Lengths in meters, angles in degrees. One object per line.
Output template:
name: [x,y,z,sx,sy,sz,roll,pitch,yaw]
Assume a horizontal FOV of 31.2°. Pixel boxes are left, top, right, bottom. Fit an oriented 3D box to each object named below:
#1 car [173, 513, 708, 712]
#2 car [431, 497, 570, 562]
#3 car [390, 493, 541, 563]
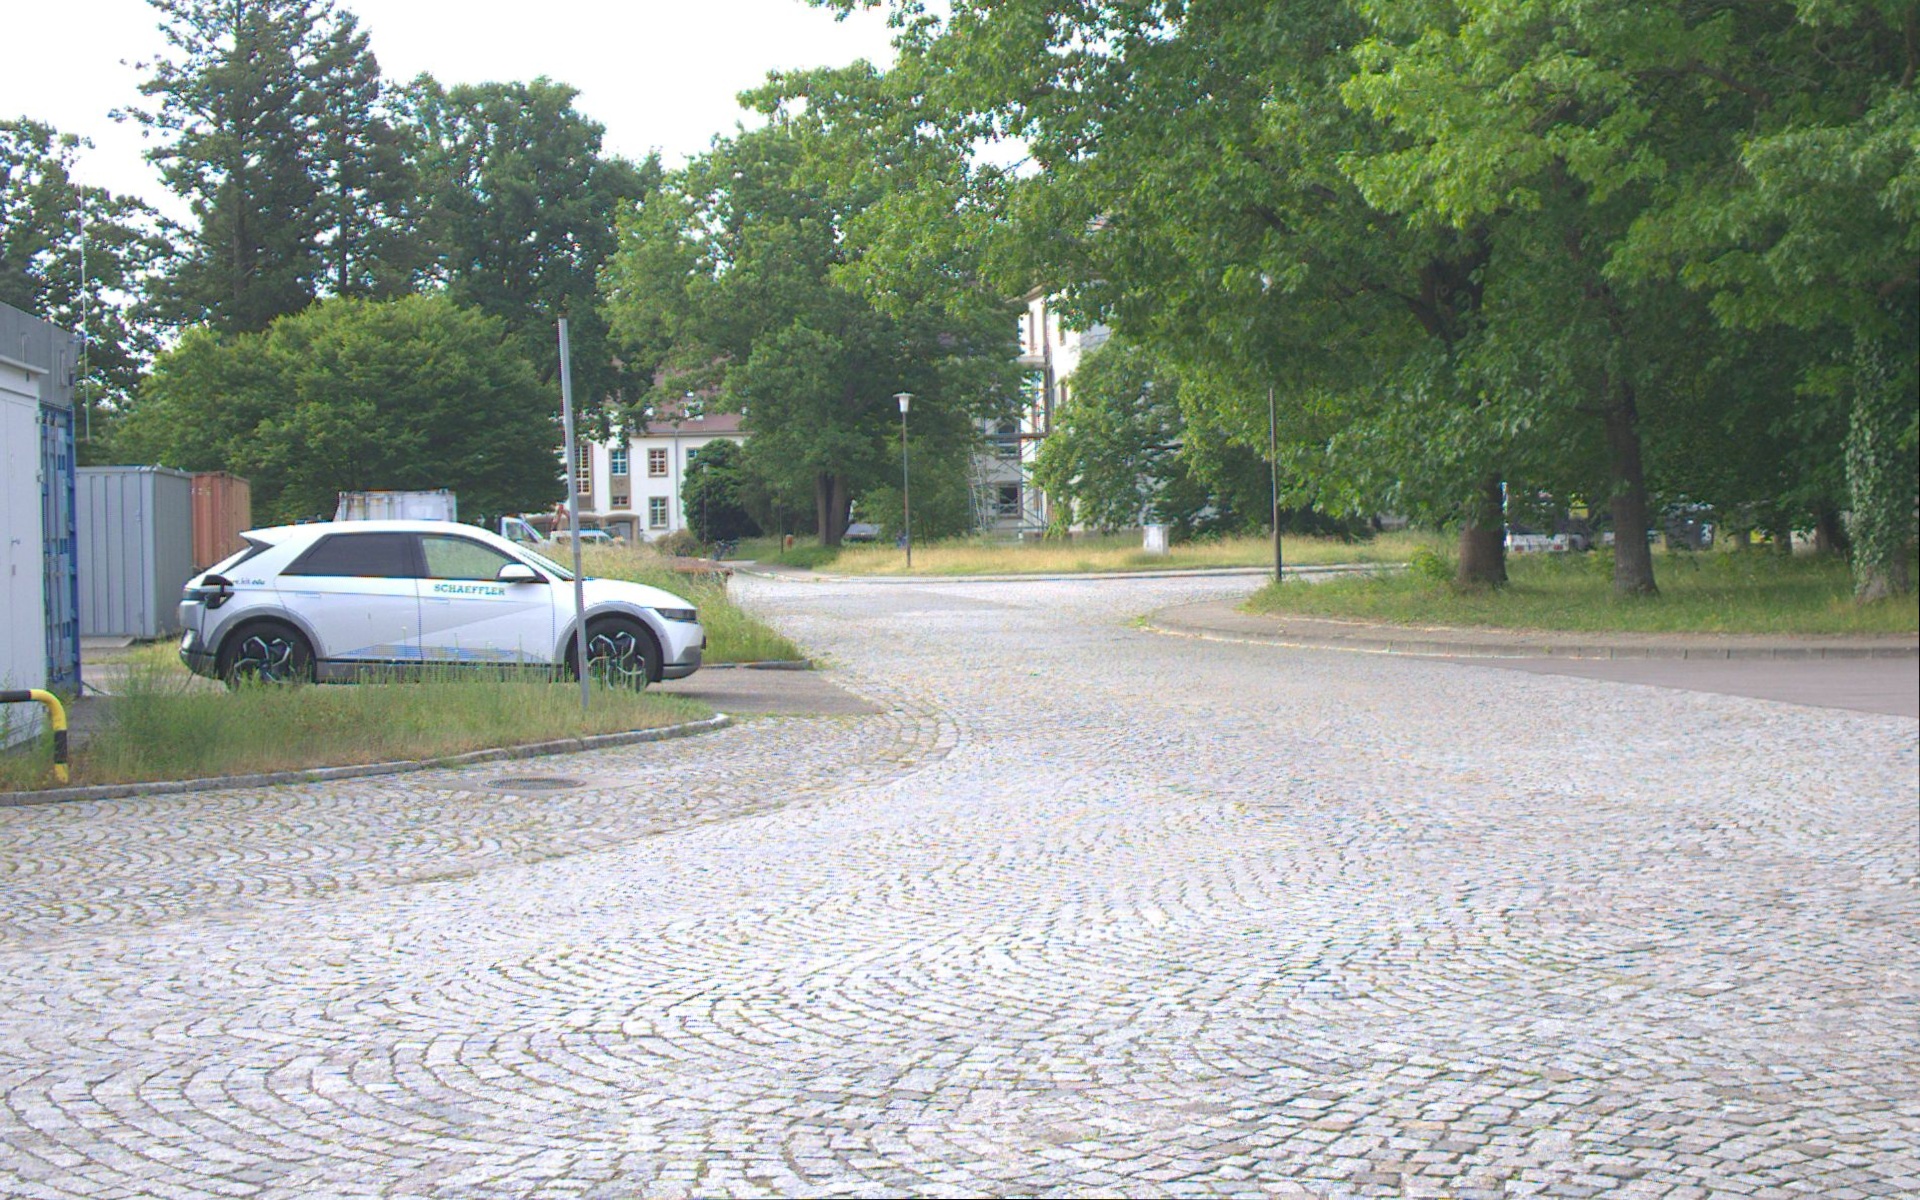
car: [-4.548,0.087,30.666,4.533,1.594,2.000,-2,1,-5]
car: [-17.559,-2.692,131.417,5.169,2.329,2.001,-2,1,-7]
car: [-17.501,-2.557,121.789,5.169,2.329,2.001,-2,1,-7]
